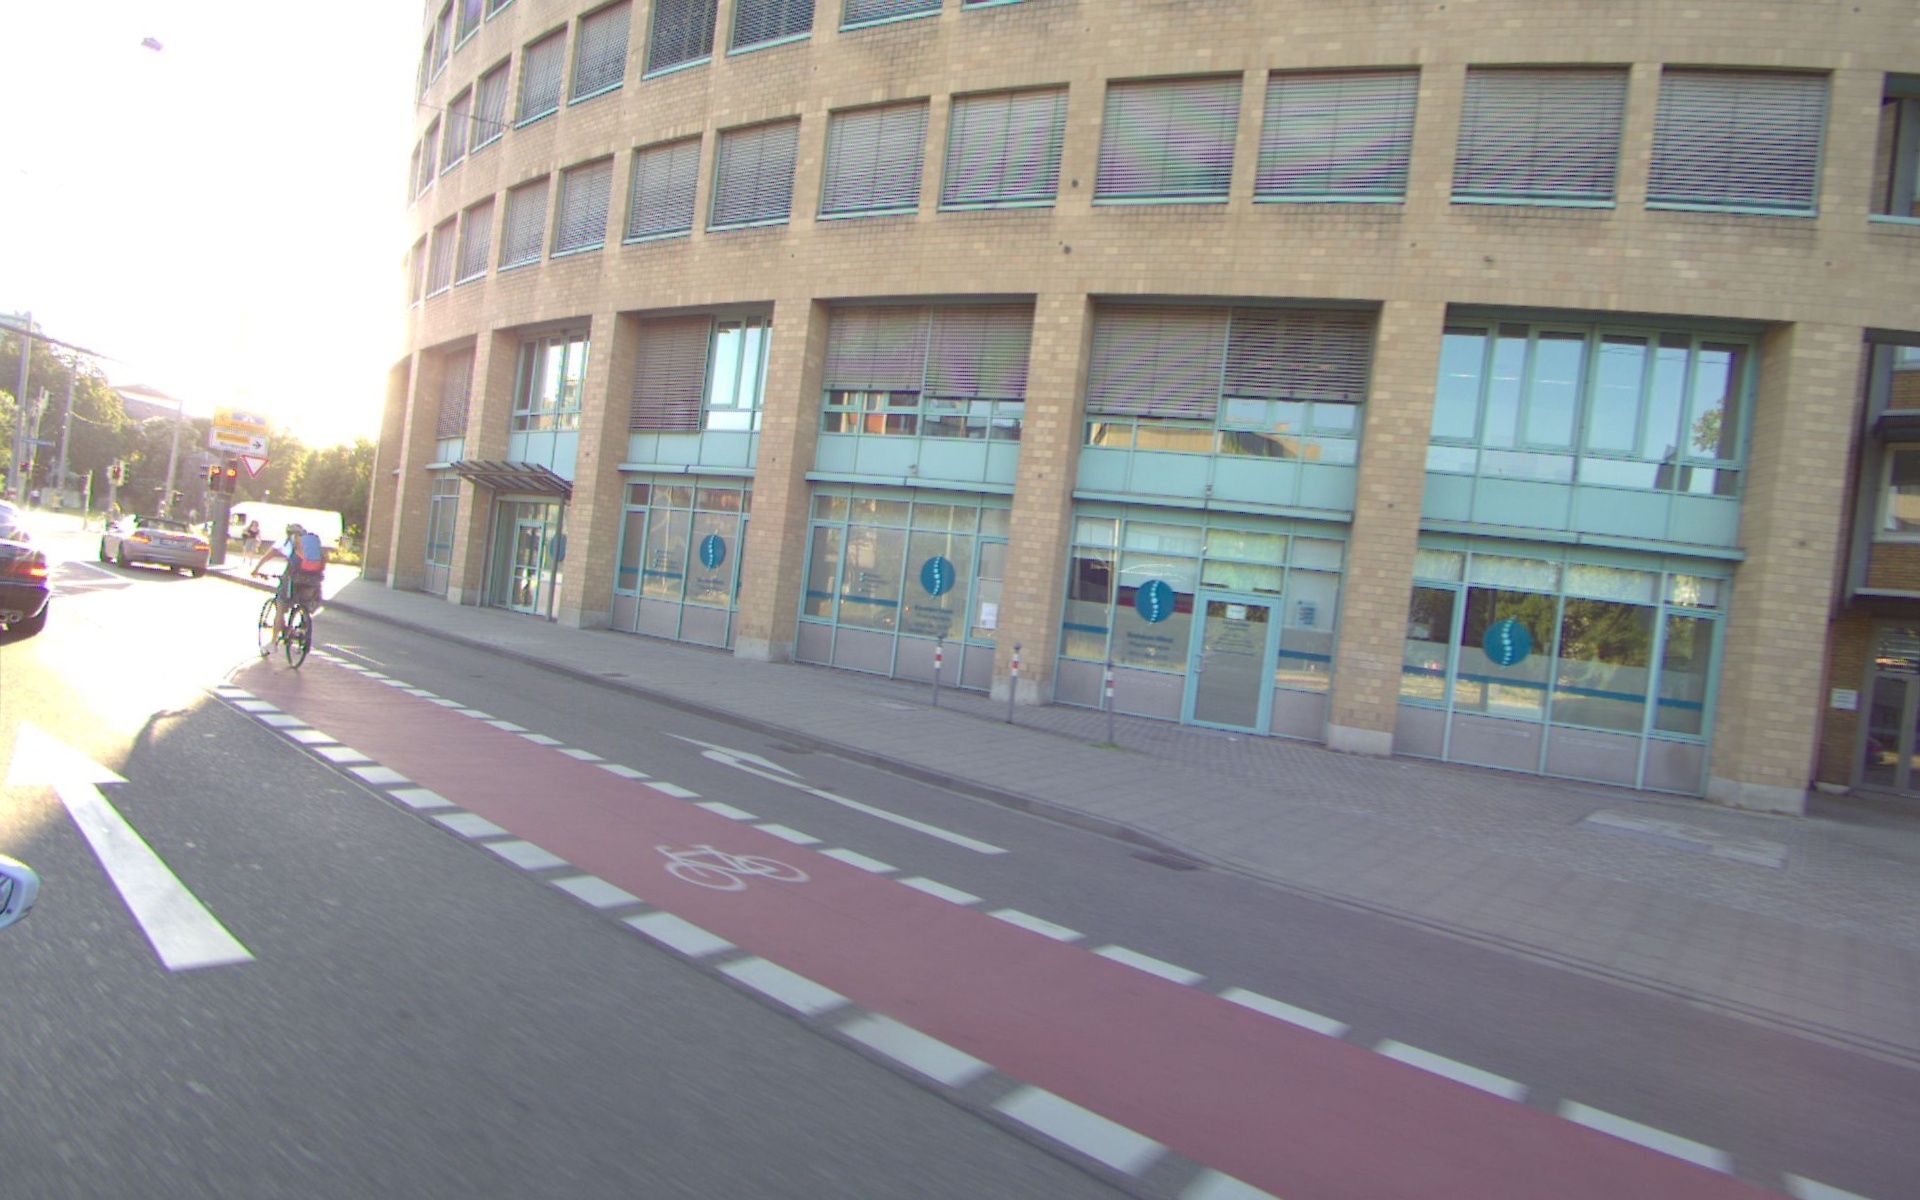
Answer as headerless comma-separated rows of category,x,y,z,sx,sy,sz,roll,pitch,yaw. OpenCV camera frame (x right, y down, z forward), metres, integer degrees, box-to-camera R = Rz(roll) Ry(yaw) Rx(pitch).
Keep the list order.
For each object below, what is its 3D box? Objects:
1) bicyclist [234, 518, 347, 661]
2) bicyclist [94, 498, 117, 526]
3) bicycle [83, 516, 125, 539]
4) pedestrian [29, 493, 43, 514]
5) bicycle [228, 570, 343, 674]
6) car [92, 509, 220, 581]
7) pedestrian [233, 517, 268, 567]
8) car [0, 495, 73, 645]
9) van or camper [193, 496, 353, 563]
bicyclist,-7.753,-0.131,11.641,1.023,1.500,0.655,7,-2,39
bicyclist,-48.339,-4.960,56.920,0.849,1.460,0.656,7,2,-37
bicycle,-48.437,-4.112,56.948,1.710,0.982,0.603,9,0,-37
pedestrian,-79.074,-8.260,86.105,0.604,1.631,0.681,9,2,41
bicycle,-7.851,0.238,11.679,1.749,0.966,0.515,8,-1,39
car,-21.328,-1.486,26.629,4.205,1.370,1.782,8,-1,41
pedestrian,-24.211,-1.984,34.336,0.788,1.589,0.676,9,2,39
car,-11.427,-0.546,11.074,4.575,1.370,1.829,8,-1,41
van or camper,-39.080,-3.966,57.425,2.563,2.708,7.029,9,1,43
